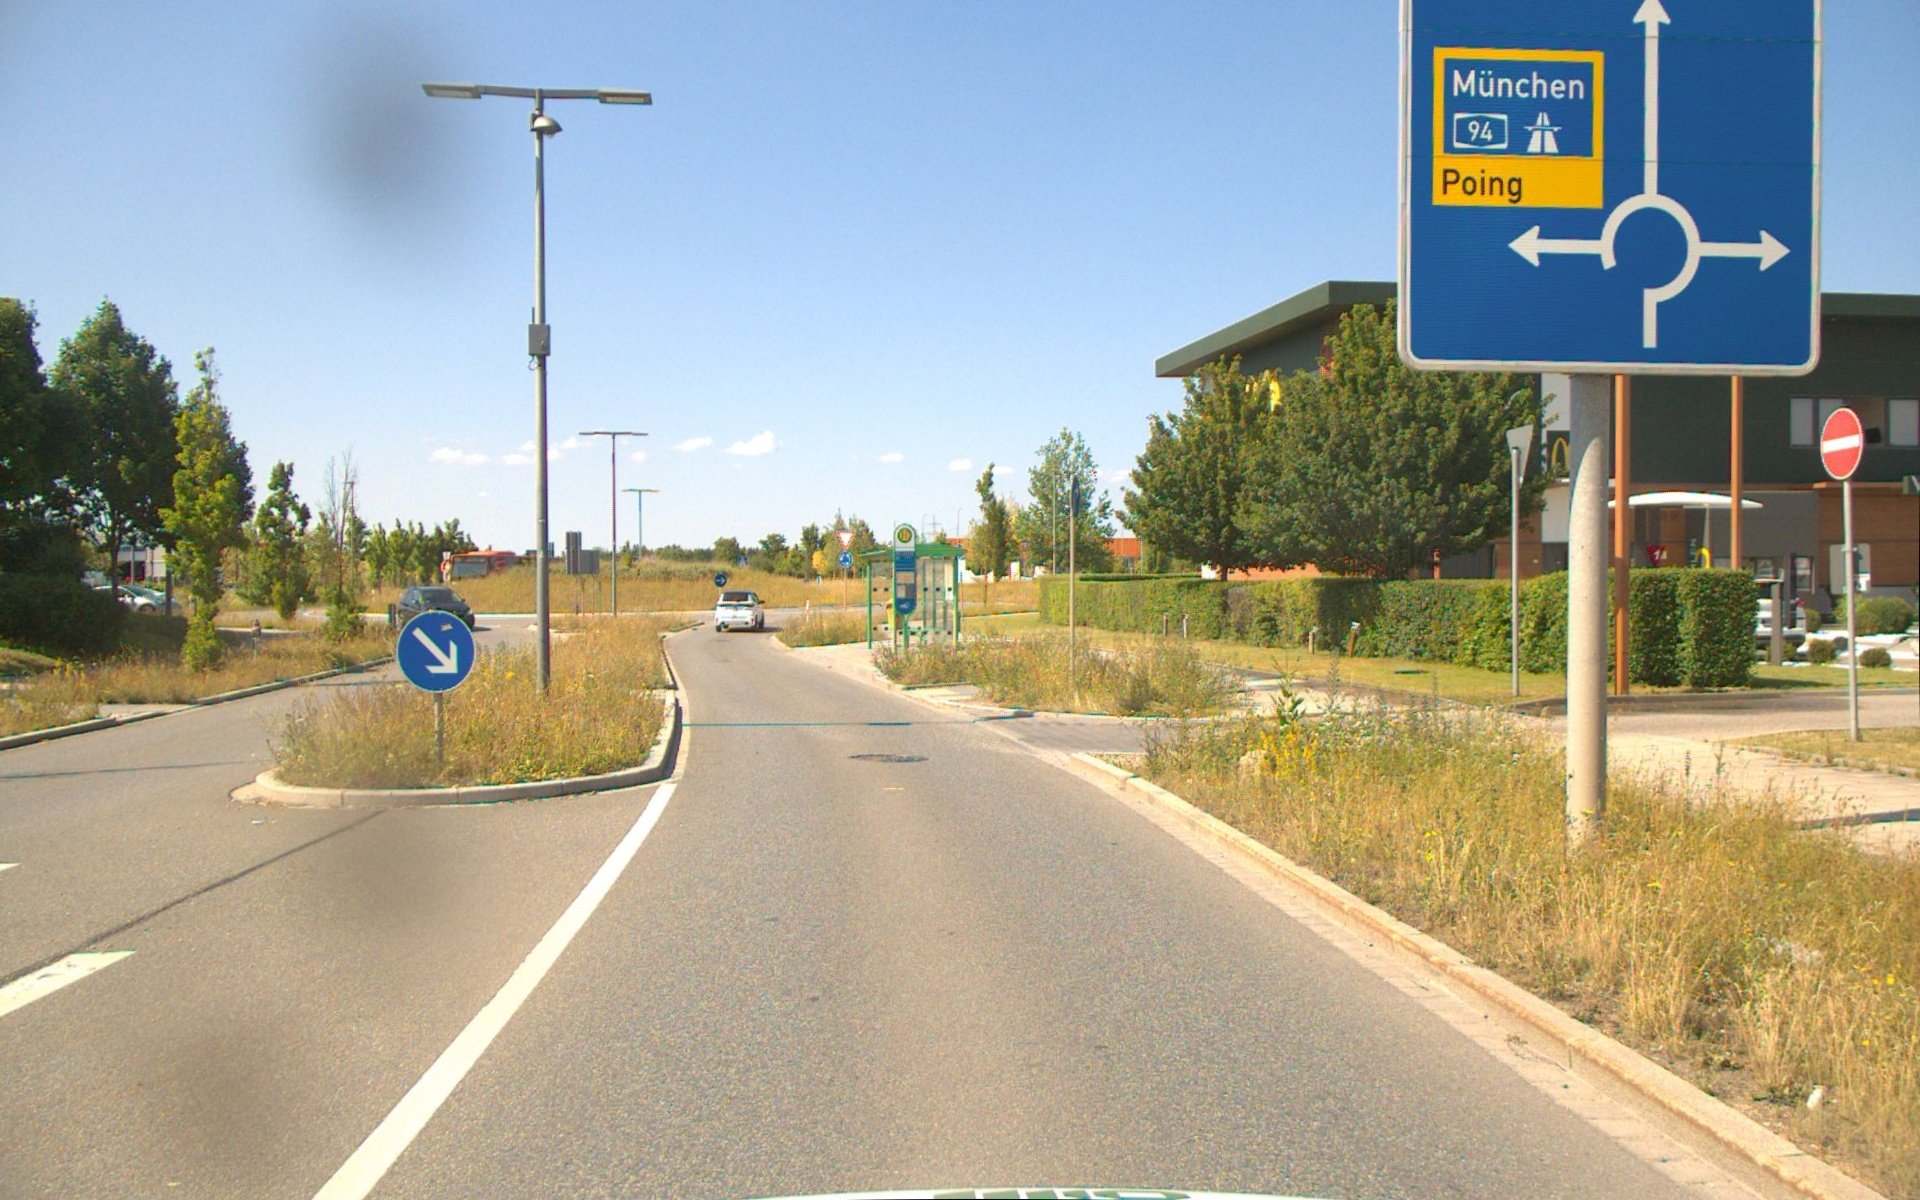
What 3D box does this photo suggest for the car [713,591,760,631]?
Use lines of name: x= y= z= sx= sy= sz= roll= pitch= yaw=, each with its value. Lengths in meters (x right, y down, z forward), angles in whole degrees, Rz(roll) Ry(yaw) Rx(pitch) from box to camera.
car: x=-8.367 y=0.393 z=61.735 sx=1.587 sy=1.459 sz=3.783 roll=0 pitch=0 yaw=-11

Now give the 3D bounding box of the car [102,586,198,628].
car: x=-36.057 y=0.284 z=73.598 sx=4.533 sy=1.654 sz=1.956 roll=2 pitch=2 yaw=37

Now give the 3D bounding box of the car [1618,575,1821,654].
car: x=15.221 y=0.271 z=33.394 sx=1.760 sy=1.459 sz=3.990 roll=-1 pitch=0 yaw=-10

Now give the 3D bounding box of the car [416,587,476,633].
car: x=-19.376 y=0.375 z=62.259 sx=1.735 sy=1.570 sz=4.211 roll=-3 pitch=1 yaw=-23

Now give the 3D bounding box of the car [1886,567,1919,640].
car: x=23.030 y=0.055 z=38.681 sx=1.755 sy=1.632 sz=4.001 roll=-1 pitch=0 yaw=20

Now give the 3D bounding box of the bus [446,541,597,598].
bus: x=-26.975 y=-1.976 z=102.710 sx=2.728 sy=3.132 sz=12.211 roll=-1 pitch=2 yaw=18
